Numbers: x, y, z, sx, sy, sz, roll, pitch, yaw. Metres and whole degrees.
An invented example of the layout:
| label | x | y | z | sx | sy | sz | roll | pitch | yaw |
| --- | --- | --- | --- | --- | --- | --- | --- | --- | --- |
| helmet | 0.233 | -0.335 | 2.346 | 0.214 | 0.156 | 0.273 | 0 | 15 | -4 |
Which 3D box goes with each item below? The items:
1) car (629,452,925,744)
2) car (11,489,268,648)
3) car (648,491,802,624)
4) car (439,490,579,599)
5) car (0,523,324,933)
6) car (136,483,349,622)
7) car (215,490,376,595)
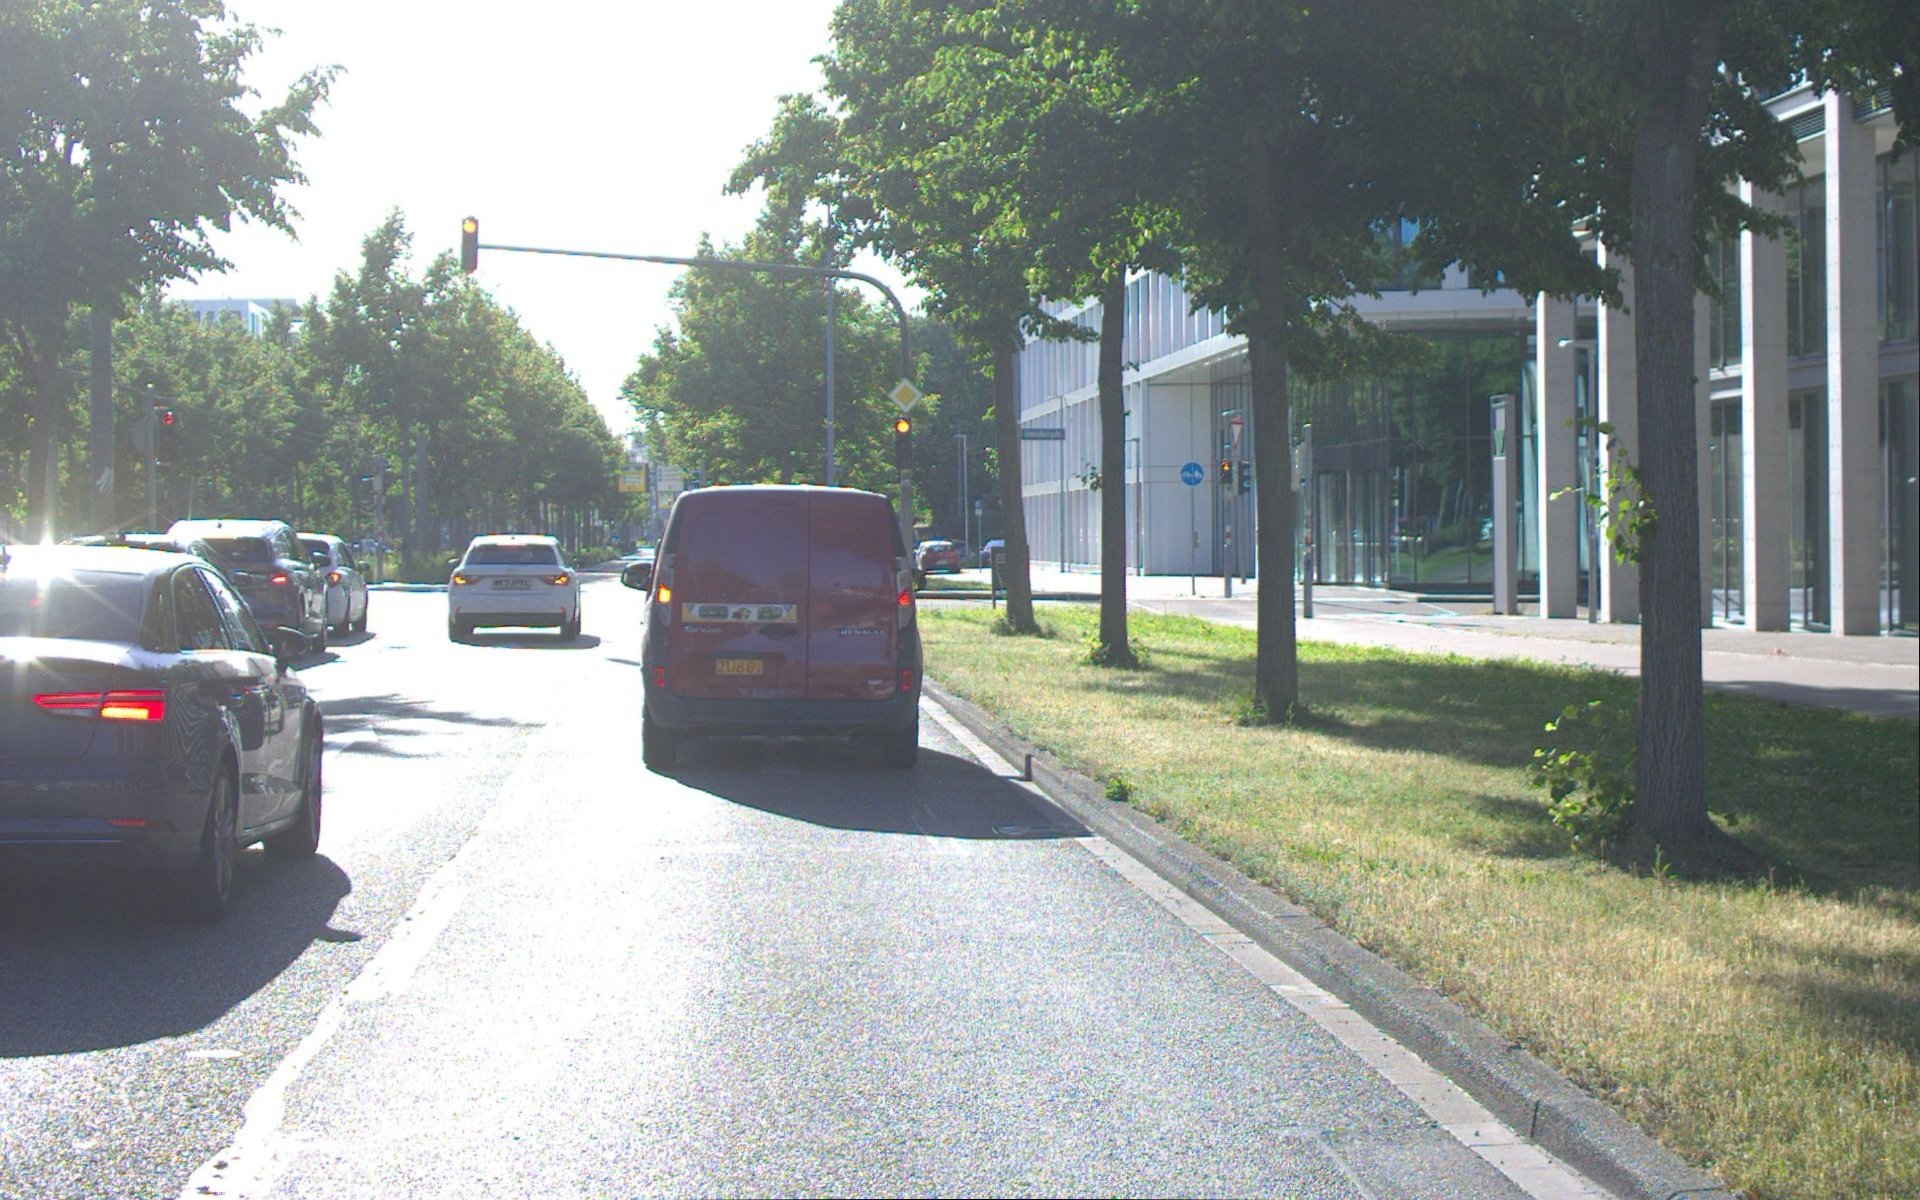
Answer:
| label | x | y | z | sx | sy | sz | roll | pitch | yaw |
| --- | --- | --- | --- | --- | --- | --- | --- | --- | --- |
| car | -1.225 | -0.099 | 23.042 | 1.797 | 1.770 | 4.001 | -1 | 2 | -3 |
| car | -7.966 | -0.354 | 33.711 | 1.942 | 1.436 | 4.001 | -1 | 2 | -6 |
| car | -2.855 | -0.549 | 41.404 | 1.720 | 1.420 | 3.818 | 1 | 3 | -5 |
| car | -6.218 | -0.801 | 47.726 | 1.720 | 1.420 | 3.817 | 0 | 2 | -4 |
| car | -3.664 | 0.392 | 13.809 | 1.721 | 1.361 | 4.147 | 0 | 2 | -4 |
| car | -8.336 | -0.598 | 40.249 | 1.842 | 1.529 | 3.941 | -1 | 2 | -3 |
| car | -9.260 | -0.836 | 48.153 | 1.715 | 1.393 | 4.001 | -1 | 2 | -4 |
